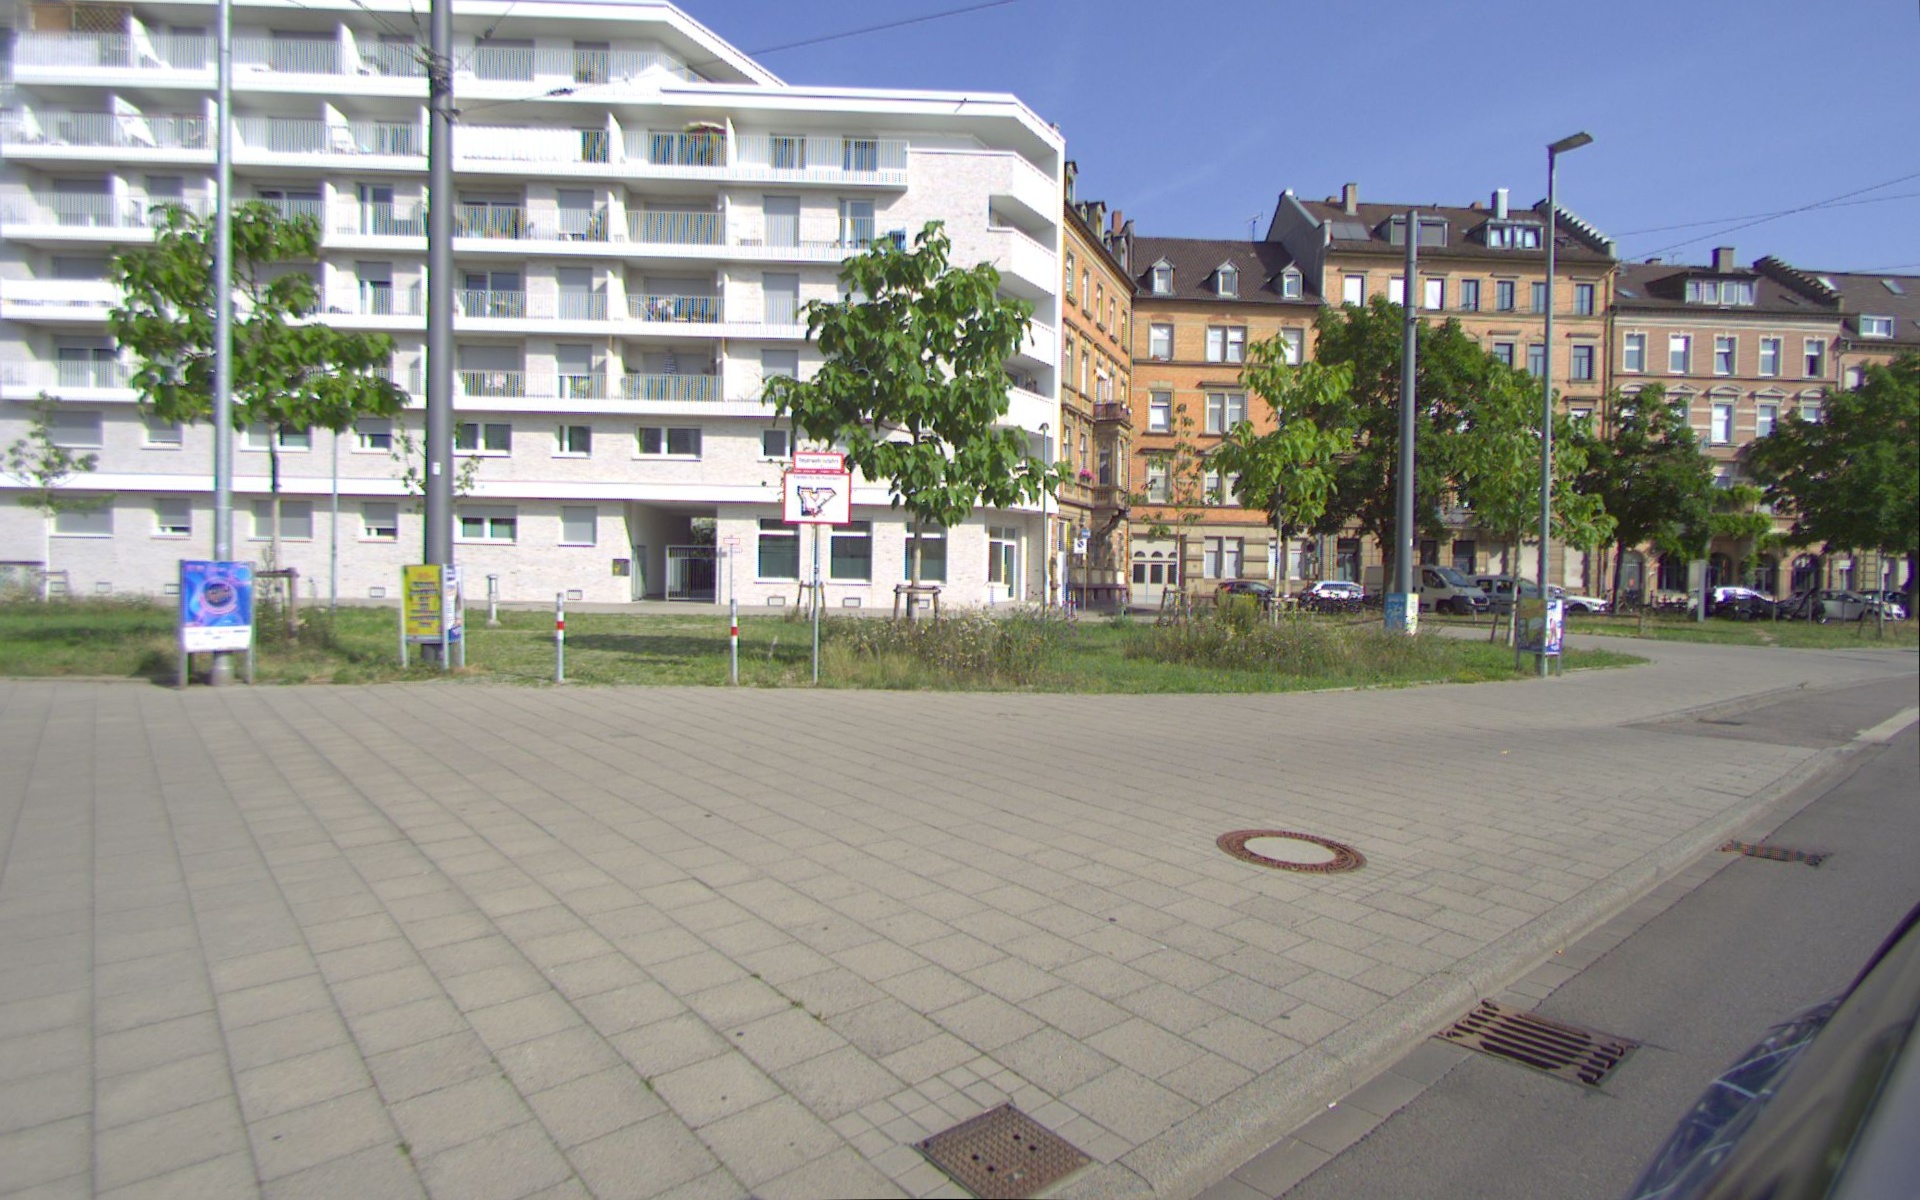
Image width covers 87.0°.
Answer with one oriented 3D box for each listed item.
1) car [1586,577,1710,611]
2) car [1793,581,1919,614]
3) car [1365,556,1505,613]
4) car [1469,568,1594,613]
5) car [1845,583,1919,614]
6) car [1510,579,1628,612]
[{"bbox_3d":[28.135,-0.265,41.470,1.690,1.264,3.855,0,1,-37],"label":"car"},{"bbox_3d":[37.622,-0.121,42.448,1.690,1.264,3.855,0,1,-37],"label":"car"},{"bbox_3d":[19.470,-0.654,41.747,1.842,2.205,5.053,0,1,-30],"label":"car"},{"bbox_3d":[23.109,-0.420,41.045,1.845,1.727,3.983,0,1,-37],"label":"car"},{"bbox_3d":[39.975,-0.069,42.599,1.690,1.264,3.855,0,1,-37],"label":"car"},{"bbox_3d":[25.127,-0.222,41.848,1.690,1.264,3.855,0,1,-37],"label":"car"}]
